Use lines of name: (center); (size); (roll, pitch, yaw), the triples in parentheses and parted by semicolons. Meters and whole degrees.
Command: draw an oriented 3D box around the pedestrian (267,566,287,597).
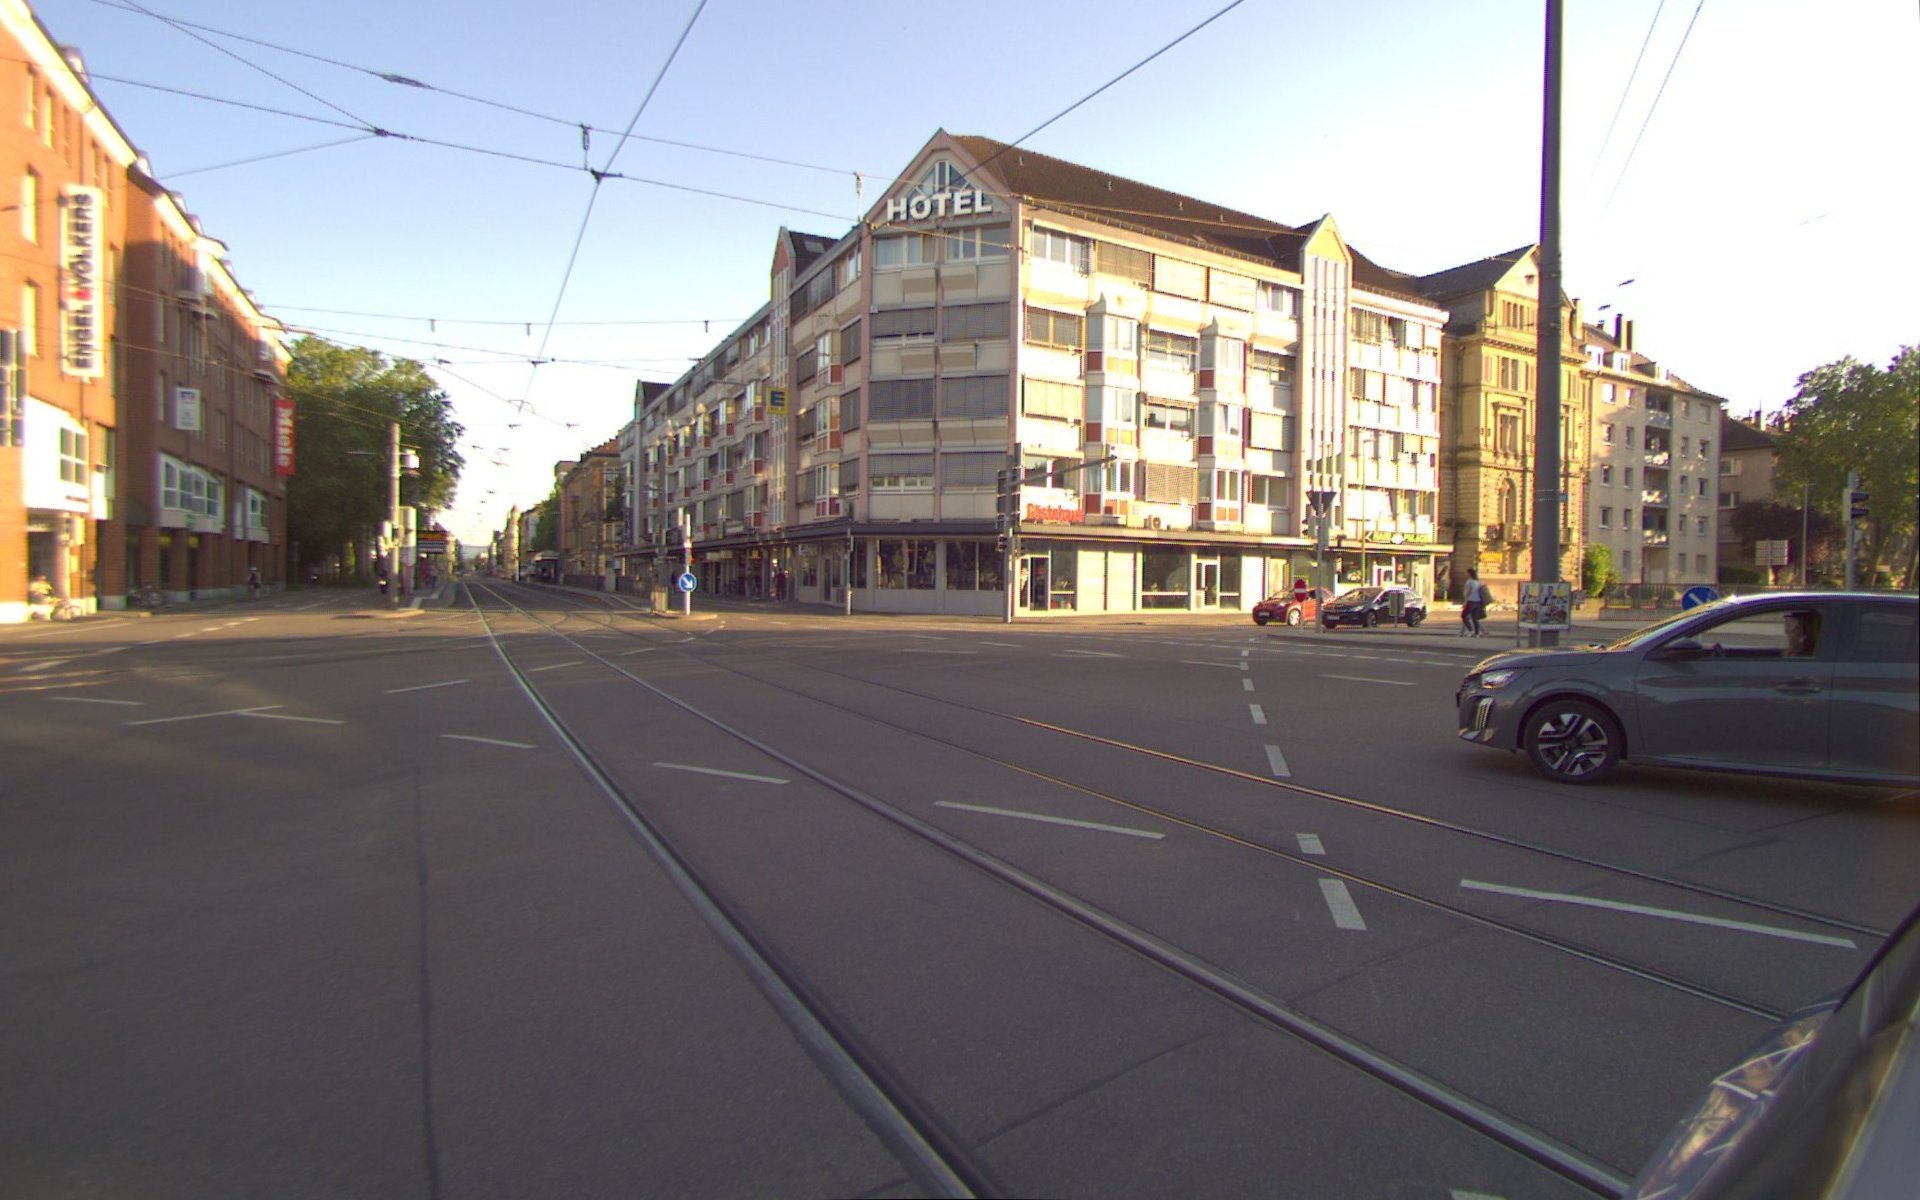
pedestrian: (-45.234, -1.242, 67.029); (1.067, 2.038, 1.085); (0, 2, -32)

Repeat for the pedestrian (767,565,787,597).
pedestrian: (-9.484, -0.989, 52.339); (0.693, 1.567, 0.908); (2, 4, -30)

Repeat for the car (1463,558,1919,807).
car: (6.296, 0.504, 7.221); (4.668, 1.522, 1.895); (2, 2, 33)

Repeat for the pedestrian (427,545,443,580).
pedestrian: (-30.850, -2.223, 59.459); (0.795, 2.038, 0.679); (0, 2, -31)

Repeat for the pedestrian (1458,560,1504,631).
pedestrian: (12.565, -0.128, 24.429); (0.715, 1.669, 0.770); (1, 1, 8)

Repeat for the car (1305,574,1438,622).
car: (14.359, -0.064, 35.264); (4.525, 1.575, 2.222); (-1, -1, -35)

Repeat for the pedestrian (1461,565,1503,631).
pedestrian: (12.987, -0.066, 25.200); (0.694, 1.602, 0.823); (1, 1, 11)

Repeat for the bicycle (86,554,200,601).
bicycle: (-31.319, -0.845, 38.870); (3.240, 1.747, 1.071); (0, 2, -28)

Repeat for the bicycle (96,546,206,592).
bicycle: (-31.846, -1.217, 39.906); (3.241, 1.747, 1.071); (0, 2, -29)

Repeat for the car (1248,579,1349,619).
car: (13.054, -0.043, 38.964); (3.821, 1.439, 1.650); (0, 2, -33)
